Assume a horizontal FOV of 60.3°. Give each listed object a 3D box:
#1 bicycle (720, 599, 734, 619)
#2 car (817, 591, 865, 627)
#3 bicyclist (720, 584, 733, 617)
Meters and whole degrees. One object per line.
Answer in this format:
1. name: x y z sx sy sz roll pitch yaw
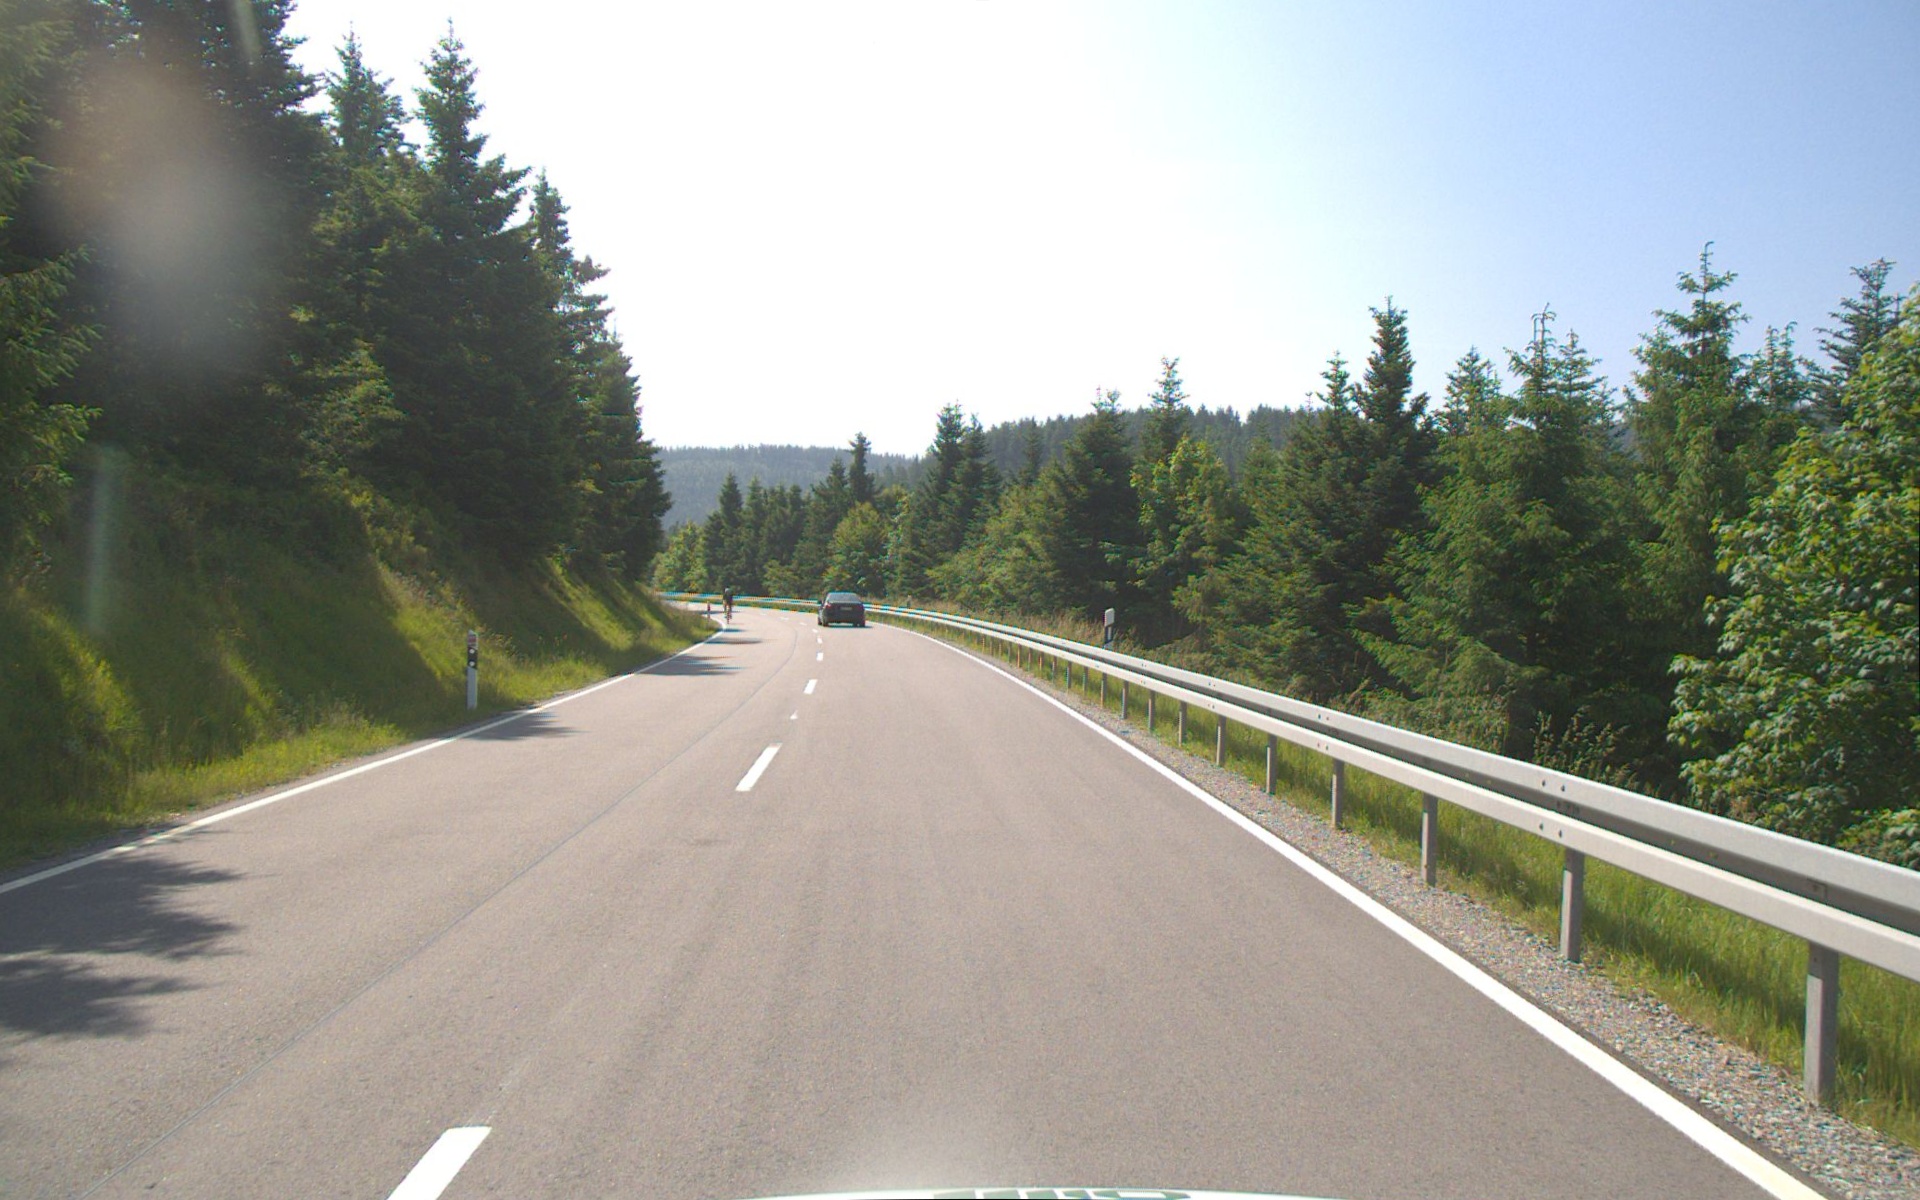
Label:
1. bicycle: -10.723 0.422 75.994 0.543 0.902 2.057 -1 0 -10
2. car: -5.044 0.357 69.753 1.742 1.467 3.702 -1 0 -8
3. bicyclist: -10.722 0.028 75.905 0.532 1.476 0.981 -1 0 -11
